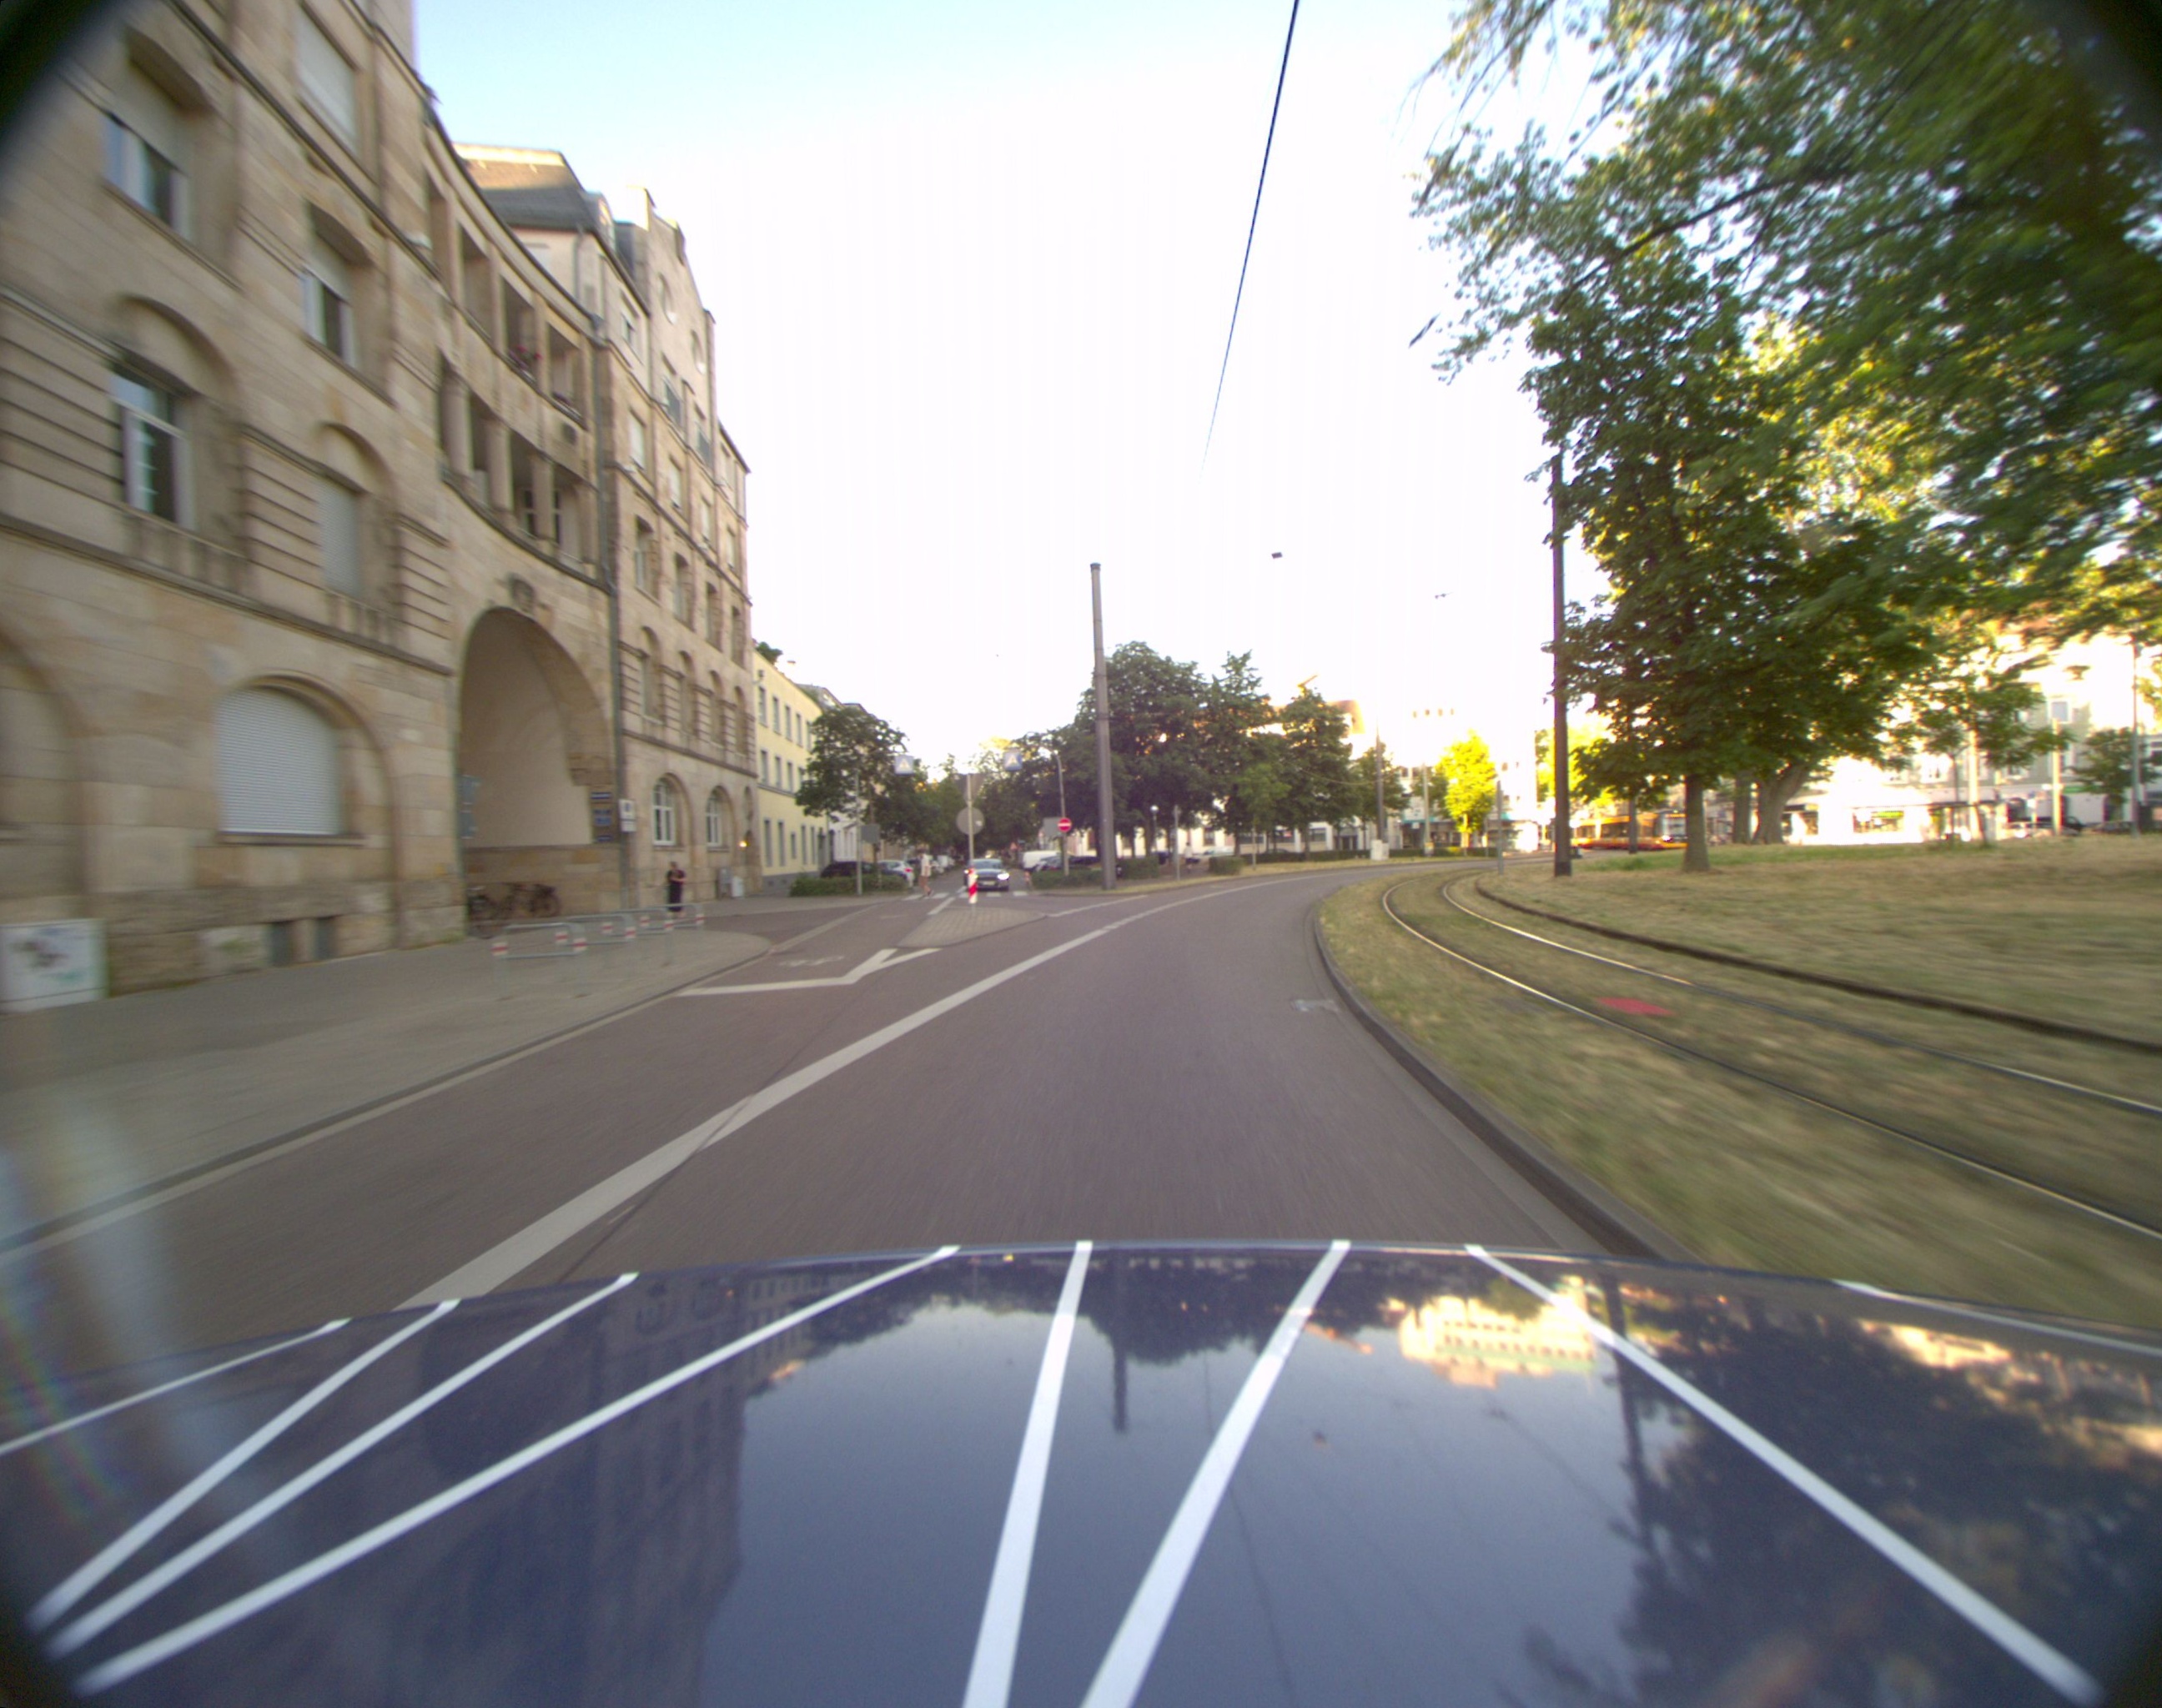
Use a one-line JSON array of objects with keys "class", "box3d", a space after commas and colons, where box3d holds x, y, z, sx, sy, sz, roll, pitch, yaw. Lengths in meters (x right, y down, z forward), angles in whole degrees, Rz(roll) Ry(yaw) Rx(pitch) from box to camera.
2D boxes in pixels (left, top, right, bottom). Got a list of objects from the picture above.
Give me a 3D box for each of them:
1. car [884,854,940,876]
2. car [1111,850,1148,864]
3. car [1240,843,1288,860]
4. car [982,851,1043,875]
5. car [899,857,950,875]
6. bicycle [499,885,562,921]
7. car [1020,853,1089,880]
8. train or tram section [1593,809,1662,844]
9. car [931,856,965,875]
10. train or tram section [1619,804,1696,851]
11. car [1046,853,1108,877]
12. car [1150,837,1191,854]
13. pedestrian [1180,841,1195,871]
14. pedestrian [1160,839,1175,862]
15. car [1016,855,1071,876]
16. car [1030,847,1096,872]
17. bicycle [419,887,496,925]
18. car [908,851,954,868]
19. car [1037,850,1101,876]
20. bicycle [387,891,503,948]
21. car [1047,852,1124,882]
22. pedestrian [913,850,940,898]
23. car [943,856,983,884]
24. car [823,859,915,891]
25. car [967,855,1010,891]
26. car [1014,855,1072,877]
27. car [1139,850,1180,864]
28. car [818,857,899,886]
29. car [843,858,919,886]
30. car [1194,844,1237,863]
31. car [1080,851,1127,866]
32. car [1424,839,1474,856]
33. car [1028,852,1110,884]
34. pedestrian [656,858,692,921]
[{"class": "car", "box3d": [-13.118, 0.855, 59.271, 4.068, 1.542, 1.999, -1, 0, -7]}, {"class": "car", "box3d": [5.155, 0.332, 80.575, 3.669, 1.441, 1.703, -2, 0, 15]}, {"class": "car", "box3d": [17.330, -0.243, 72.031, 4.315, 1.402, 1.807, -2, 2, 13]}, {"class": "car", "box3d": [-6.172, 0.841, 68.610, 5.072, 2.010, 1.970, -2, 0, 16]}, {"class": "car", "box3d": [-14.410, 1.077, 70.138, 4.062, 1.542, 2.001, -2, 0, 8]}, {"class": "bicycle", "box3d": [-15.901, 1.419, 21.958, 1.442, 0.980, 0.360, -1, 0, -8]}, {"class": "car", "box3d": [-1.638, 0.791, 48.602, 4.062, 1.542, 2.001, -2, 0, 8]}, {"class": "train or tram section", "box3d": [55.081, -2.747, 76.978, 2.925, 3.123, 12.875, -2, 1, 24]}, {"class": "car", "box3d": [-16.685, 1.459, 95.792, 4.068, 2.280, 1.999, -1, 0, -7]}, {"class": "train or tram section", "box3d": [49.382, -2.285, 65.566, 2.943, 3.563, 13.388, -2, 1, 27]}, {"class": "car", "box3d": [-0.248, 0.789, 53.659, 4.062, 1.542, 2.001, -2, 0, 8]}, {"class": "car", "box3d": [9.394, -0.885, 79.460, 4.006, 1.714, 1.703, -2, 0, 15]}, {"class": "pedestrian", "box3d": [6.125, 0.136, 43.745, 0.768, 1.705, 0.786, -2, 0, 4]}, {"class": "pedestrian", "box3d": [7.600, -0.301, 66.897, 0.827, 2.002, 1.011, -2, 0, 45]}, {"class": "car", "box3d": [-3.005, 0.891, 61.122, 4.062, 1.542, 2.001, -2, 0, 8]}, {"class": "car", "box3d": [-1.523, 0.478, 63.748, 5.072, 1.891, 2.124, -2, 0, 16]}, {"class": "bicycle", "box3d": [-17.816, 1.480, 21.730, 1.734, 0.980, 0.413, -1, 0, -8]}, {"class": "car", "box3d": [-15.297, 0.599, 77.626, 4.399, 1.603, 1.728, -1, 0, -8]}, {"class": "car", "box3d": [-0.788, 0.623, 51.543, 4.062, 1.608, 2.001, -2, 0, 8]}, {"class": "bicycle", "box3d": [-13.064, 1.338, 15.638, 1.856, 1.066, 0.429, -1, 0, -8]}, {"class": "car", "box3d": [0.278, 0.726, 42.848, 4.062, 1.547, 1.867, -2, 0, 8]}, {"class": "pedestrian", "box3d": [-5.849, 0.763, 28.807, 0.591, 1.781, 0.823, -1, 0, 26]}, {"class": "car", "box3d": [-6.715, 0.915, 43.740, 1.820, 1.473, 4.135, -1, 0, -3]}, {"class": "car", "box3d": [-11.235, 1.105, 40.492, 4.398, 1.548, 1.837, -1, 0, -5]}, {"class": "car", "box3d": [-4.201, 0.843, 34.478, 1.821, 1.473, 4.133, -1, 0, -7]}, {"class": "car", "box3d": [-2.855, 0.932, 57.885, 4.062, 1.542, 2.001, -2, 0, 8]}, {"class": "car", "box3d": [7.673, 0.293, 74.540, 3.776, 1.328, 1.730, -2, 0, 13]}, {"class": "car", "box3d": [-12.494, 0.980, 42.843, 4.067, 1.476, 1.837, -1, 0, -5]}, {"class": "car", "box3d": [-11.899, 1.071, 45.333, 4.067, 1.561, 1.837, -1, 0, -4]}, {"class": "car", "box3d": [12.967, -0.008, 73.182, 4.006, 1.714, 1.703, -2, 0, 13]}, {"class": "car", "box3d": [2.284, 0.427, 75.793, 4.388, 1.411, 1.730, -2, 0, 13]}, {"class": "car", "box3d": [34.936, -0.589, 72.250, 3.993, 1.441, 1.850, -2, 0, 13]}, {"class": "car", "box3d": [-0.616, 0.741, 40.648, 4.062, 1.547, 1.867, -2, 0, 8]}, {"class": "pedestrian", "box3d": [-11.194, 0.971, 20.906, 0.577, 1.699, 0.721, -2, 0, -3]}]
